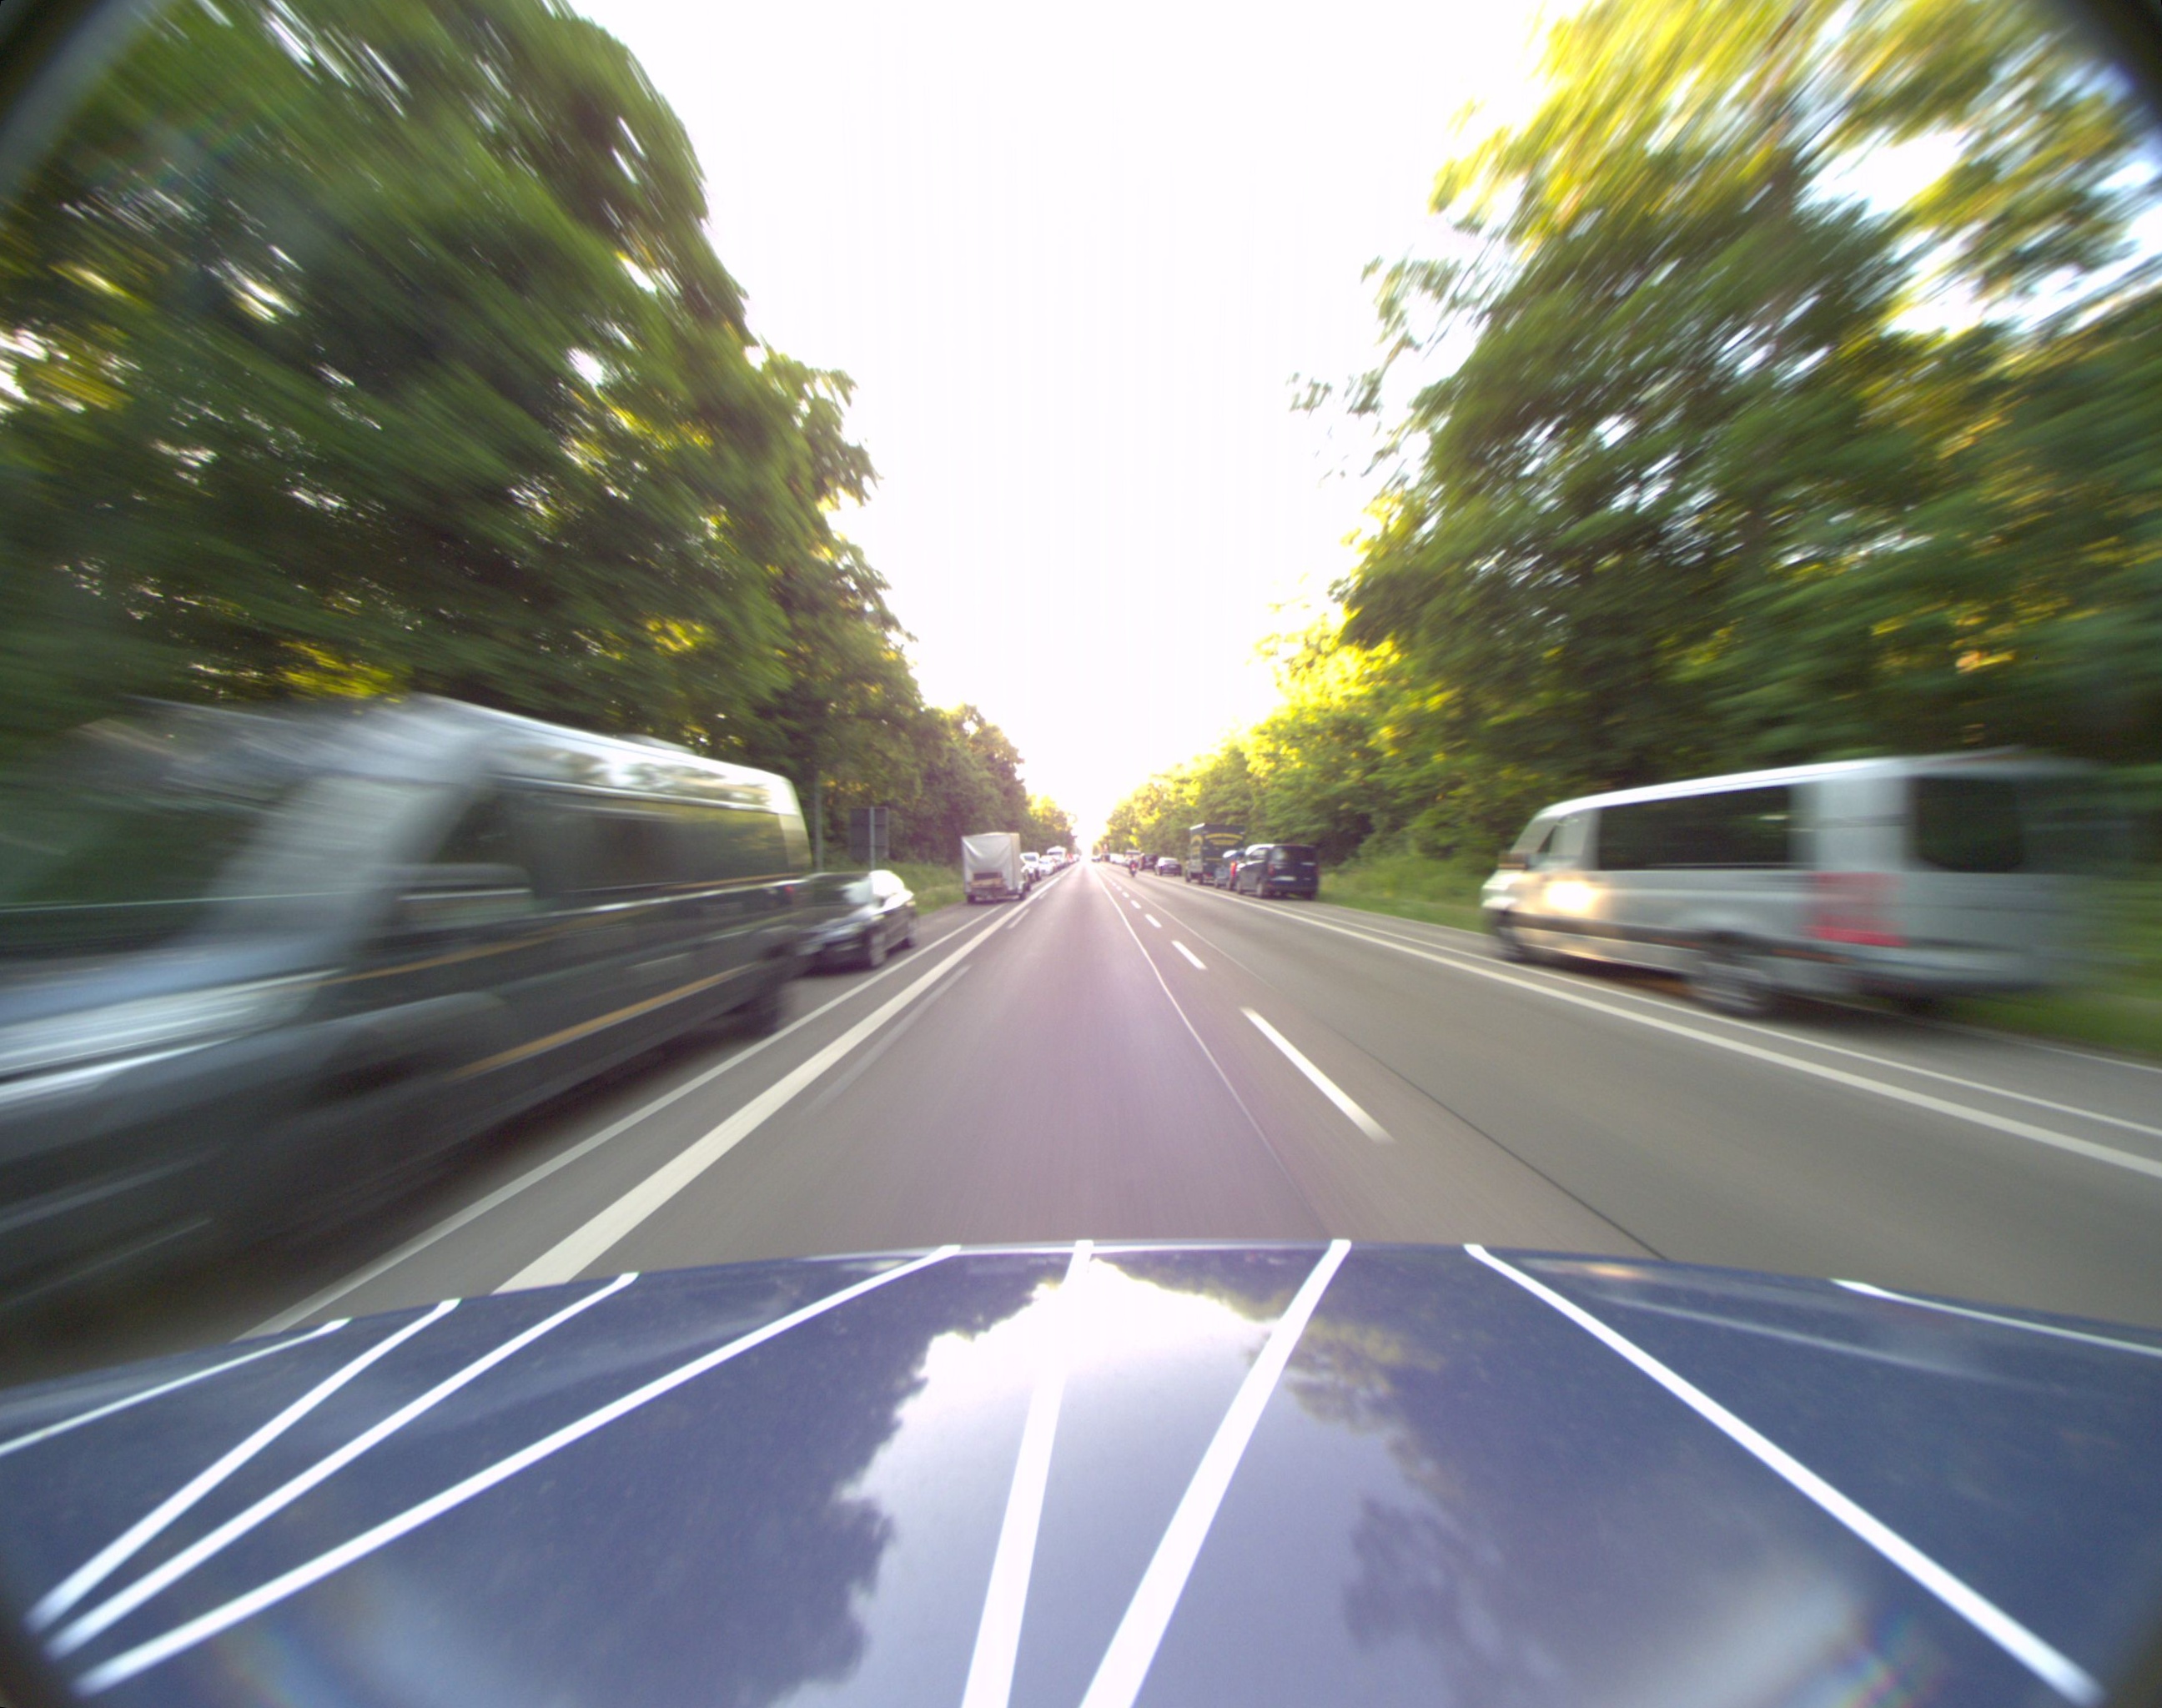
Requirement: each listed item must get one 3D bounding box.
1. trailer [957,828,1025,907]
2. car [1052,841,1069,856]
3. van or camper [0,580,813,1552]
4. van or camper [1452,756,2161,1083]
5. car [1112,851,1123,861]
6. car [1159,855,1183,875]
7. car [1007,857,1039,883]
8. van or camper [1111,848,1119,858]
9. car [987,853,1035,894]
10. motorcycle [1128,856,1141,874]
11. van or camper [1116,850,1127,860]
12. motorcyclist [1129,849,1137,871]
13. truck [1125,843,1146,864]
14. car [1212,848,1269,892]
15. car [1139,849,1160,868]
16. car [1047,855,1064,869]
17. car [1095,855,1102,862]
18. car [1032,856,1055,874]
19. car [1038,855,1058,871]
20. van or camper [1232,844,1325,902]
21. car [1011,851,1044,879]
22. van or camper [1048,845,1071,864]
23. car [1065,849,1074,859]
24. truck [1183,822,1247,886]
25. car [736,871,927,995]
[{"bbox_3d":[-3.225,0.452,28.127,1.866,2.633,4.269,-2,1,0],"label":"trailer"},{"bbox_3d":[-3.220,-0.825,122.127,2.537,2.270,5.554,-1,0,1],"label":"car"},{"bbox_3d":[-3.902,0.546,4.853,2.132,2.526,6.059,-2,1,0],"label":"van or camper"},{"bbox_3d":[6.996,0.479,8.832,2.116,2.376,6.380,2,0,-1],"label":"van or camper"},{"bbox_3d":[7.914,0.388,164.872,1.998,1.893,4.000,-2,1,1],"label":"car"},{"bbox_3d":[7.252,0.881,61.614,1.606,1.495,3.760,2,0,3],"label":"car"},{"bbox_3d":[-3.618,0.987,48.198,1.632,1.506,4.196,-1,0,1],"label":"car"},{"bbox_3d":[8.593,-0.228,190.360,1.844,2.264,4.196,-1,0,1],"label":"van or camper"},{"bbox_3d":[-3.180,0.839,35.081,1.754,1.731,4.196,-1,0,1],"label":"car"},{"bbox_3d":[4.046,0.804,57.498,0.842,1.301,2.433,-1,0,1],"label":"motorcycle"},{"bbox_3d":[8.067,0.242,151.500,1.844,1.965,4.196,-1,0,1],"label":"van or camper"},{"bbox_3d":[3.923,0.451,57.296,0.558,1.614,0.875,-1,1,1],"label":"motorcyclist"},{"bbox_3d":[8.018,-0.089,113.159,2.654,3.039,5.800,-2,1,1],"label":"truck"},{"bbox_3d":[7.183,0.683,34.504,1.607,1.816,3.758,2,0,-2],"label":"car"},{"bbox_3d":[7.493,0.507,83.482,1.852,1.948,3.934,2,0,-1],"label":"car"},{"bbox_3d":[-3.029,0.974,92.161,1.844,1.585,4.196,-1,0,1],"label":"car"},{"bbox_3d":[4.895,1.165,215.273,1.998,1.849,3.999,-2,1,1],"label":"car"},{"bbox_3d":[-3.476,0.987,70.890,1.844,1.585,4.196,-1,0,1],"label":"car"},{"bbox_3d":[-3.440,0.897,79.783,1.844,1.585,4.196,-1,0,1],"label":"car"},{"bbox_3d":[7.237,0.647,28.368,2.034,1.945,4.691,2,0,-2],"label":"van or camper"},{"bbox_3d":[-3.719,0.726,53.854,1.976,1.908,4.196,-1,0,1],"label":"car"},{"bbox_3d":[-3.150,0.117,112.467,3.015,2.704,6.960,-1,0,1],"label":"van or camper"},{"bbox_3d":[-2.640,-0.009,171.076,1.844,2.007,4.196,-1,0,1],"label":"car"},{"bbox_3d":[7.231,-0.013,41.649,2.226,3.189,6.270,2,0,-1],"label":"truck"},{"bbox_3d":[-3.799,1.107,12.444,1.607,1.468,4.533,-3,0,-1],"label":"car"}]
